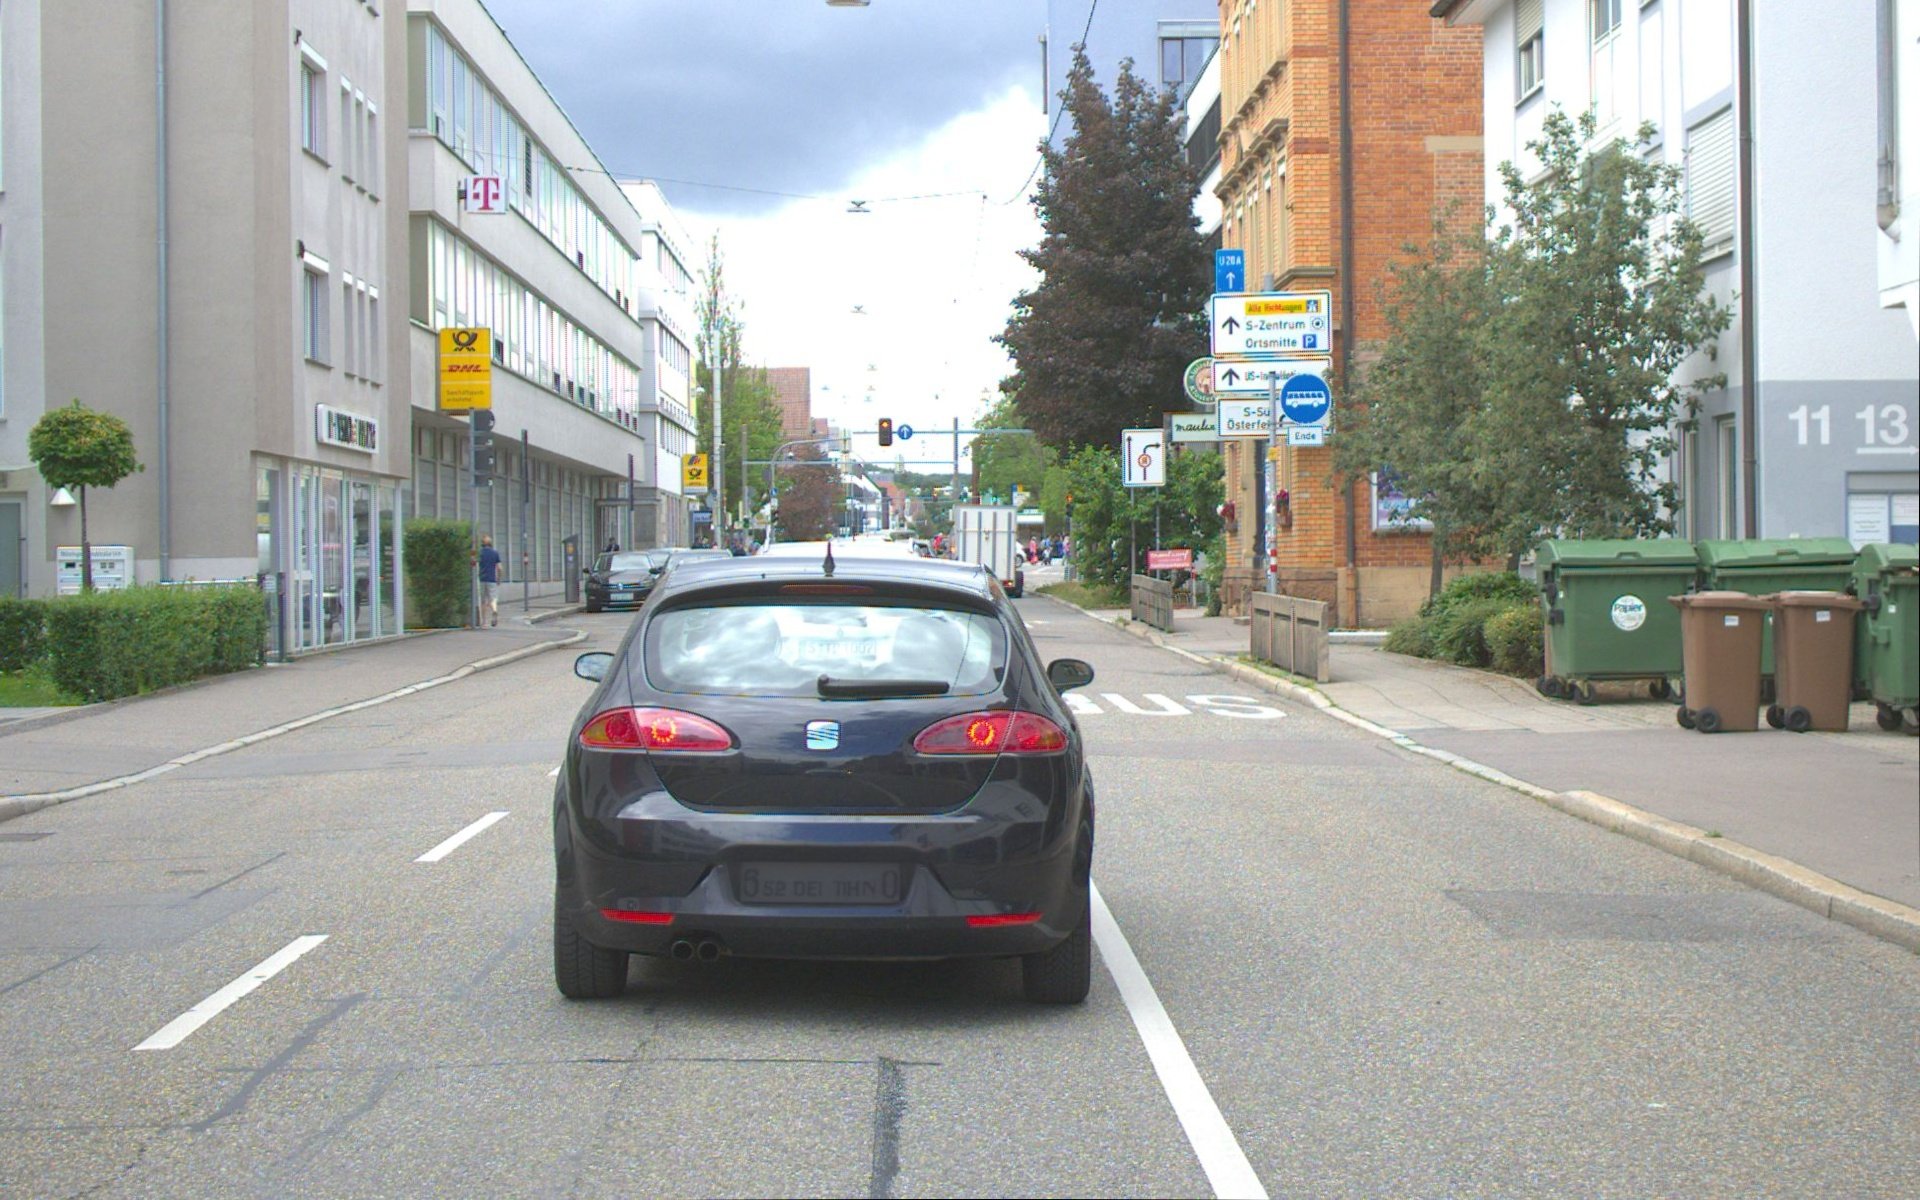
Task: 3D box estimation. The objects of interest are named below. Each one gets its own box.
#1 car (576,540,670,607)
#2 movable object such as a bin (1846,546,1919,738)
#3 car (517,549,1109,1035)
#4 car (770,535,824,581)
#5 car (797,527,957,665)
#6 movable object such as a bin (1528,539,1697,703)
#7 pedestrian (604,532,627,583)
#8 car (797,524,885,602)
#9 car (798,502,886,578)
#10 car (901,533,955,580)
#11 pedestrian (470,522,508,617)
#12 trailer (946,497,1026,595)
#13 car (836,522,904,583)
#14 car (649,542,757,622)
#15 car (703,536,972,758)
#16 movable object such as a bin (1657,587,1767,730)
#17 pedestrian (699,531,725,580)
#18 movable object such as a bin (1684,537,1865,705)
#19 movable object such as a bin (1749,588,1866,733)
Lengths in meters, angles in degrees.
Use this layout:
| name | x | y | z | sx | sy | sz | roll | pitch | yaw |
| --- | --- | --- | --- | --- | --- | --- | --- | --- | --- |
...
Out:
| name | x | y | z | sx | sy | sz | roll | pitch | yaw |
| --- | --- | --- | --- | --- | --- | --- | --- | --- | --- |
| car | -8.060 | -0.652 | 82.551 | 1.912 | 1.511 | 4.175 | -2 | 1 | -1 |
| movable object such as a bin | 7.469 | 0.301 | 26.113 | 1.209 | 1.412 | 1.259 | 0 | 1 | 3 |
| car | -0.466 | 0.548 | 12.229 | 1.765 | 1.428 | 3.829 | 0 | 1 | -1 |
| car | -6.580 | -1.712 | 139.389 | 1.993 | 1.733 | 4.554 | -3 | 1 | -1 |
| car | -0.992 | -0.079 | 40.872 | 1.803 | 1.547 | 3.738 | 0 | 1 | -1 |
| movable object such as a bin | 5.757 | 0.173 | 30.401 | 1.267 | 1.412 | 1.162 | 0 | 1 | 0 |
| pedestrian | -11.082 | -1.376 | 110.636 | 0.656 | 1.617 | 0.681 | 0 | 1 | 0 |
| car | -2.510 | -0.796 | 72.992 | 1.803 | 1.596 | 3.738 | 1 | 1 | -1 |
| car | -2.492 | -1.274 | 72.896 | 1.803 | 1.547 | 3.738 | 0 | 1 | -1 |
| car | -1.133 | -1.515 | 119.787 | 1.803 | 1.596 | 3.738 | 1 | 1 | -1 |
| pedestrian | -8.783 | -0.569 | 64.104 | 0.642 | 1.763 | 0.810 | 0 | 1 | -3 |
| trailer | 0.675 | -1.488 | 94.536 | 1.993 | 2.598 | 5.350 | -1 | 1 | -1 |
| car | -2.435 | -1.295 | 93.027 | 1.803 | 1.596 | 3.738 | 1 | 1 | -1 |
| car | -5.135 | -0.384 | 69.119 | 1.878 | 1.446 | 4.214 | -3 | 1 | -1 |
| car | -0.876 | 0.286 | 25.144 | 1.803 | 1.487 | 3.738 | 0 | 1 | -1 |
| movable object such as a bin | 5.785 | 0.443 | 26.483 | 0.683 | 1.063 | 0.971 | 0 | 1 | 3 |
| pedestrian | -9.519 | -1.696 | 131.928 | 0.918 | 1.862 | 0.783 | 0 | 1 | -1 |
| movable object such as a bin | 7.115 | 0.165 | 30.097 | 1.267 | 1.430 | 1.307 | 0 | 1 | 0 |
| movable object such as a bin | 6.515 | 0.459 | 26.460 | 0.698 | 1.075 | 0.971 | 0 | 1 | 3 |
